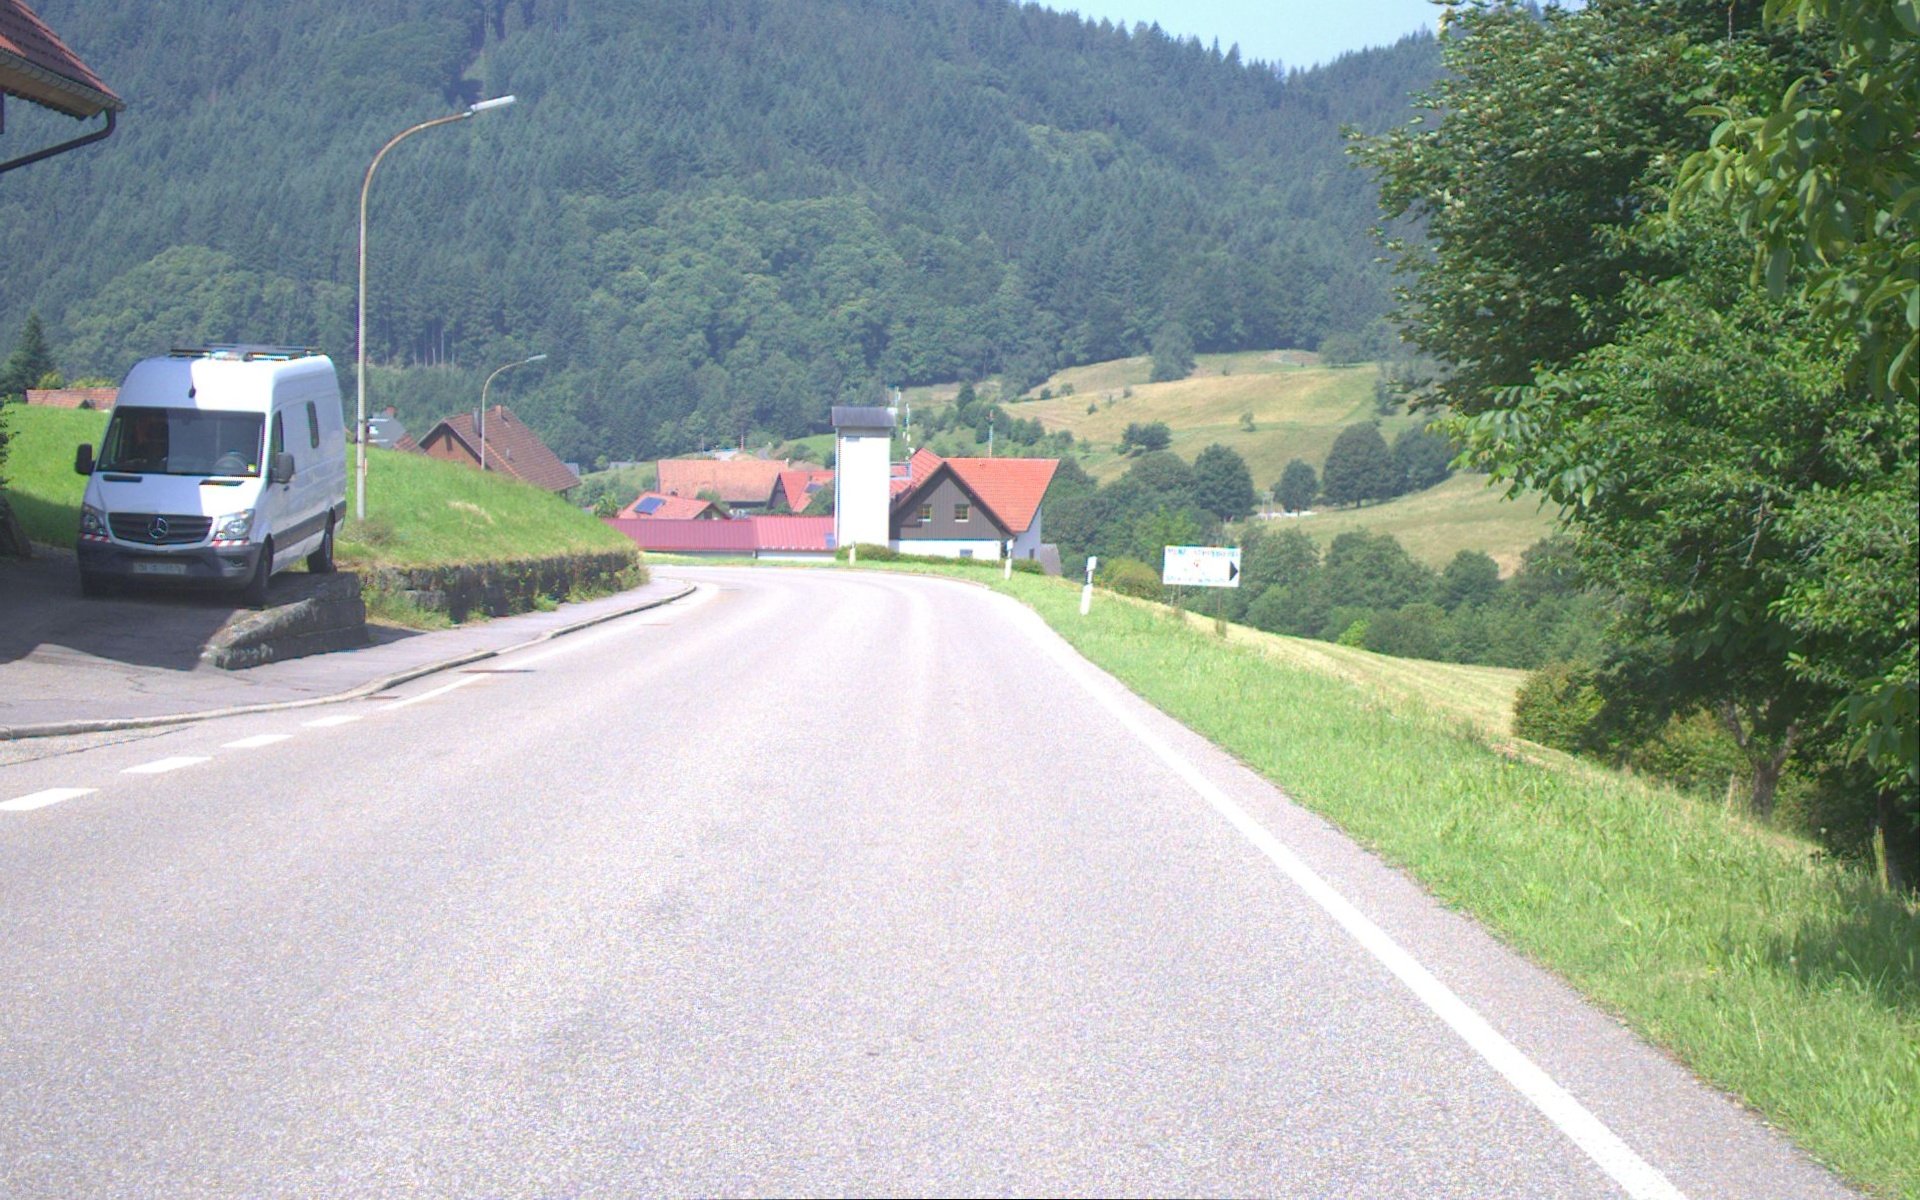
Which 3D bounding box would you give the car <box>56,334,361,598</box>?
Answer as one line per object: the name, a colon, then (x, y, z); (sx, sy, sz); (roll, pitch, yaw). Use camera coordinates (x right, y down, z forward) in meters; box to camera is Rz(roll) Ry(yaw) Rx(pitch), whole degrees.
car: (-8.425, -1.663, 39.254); (2.067, 2.679, 7.176); (1, 4, -1)
